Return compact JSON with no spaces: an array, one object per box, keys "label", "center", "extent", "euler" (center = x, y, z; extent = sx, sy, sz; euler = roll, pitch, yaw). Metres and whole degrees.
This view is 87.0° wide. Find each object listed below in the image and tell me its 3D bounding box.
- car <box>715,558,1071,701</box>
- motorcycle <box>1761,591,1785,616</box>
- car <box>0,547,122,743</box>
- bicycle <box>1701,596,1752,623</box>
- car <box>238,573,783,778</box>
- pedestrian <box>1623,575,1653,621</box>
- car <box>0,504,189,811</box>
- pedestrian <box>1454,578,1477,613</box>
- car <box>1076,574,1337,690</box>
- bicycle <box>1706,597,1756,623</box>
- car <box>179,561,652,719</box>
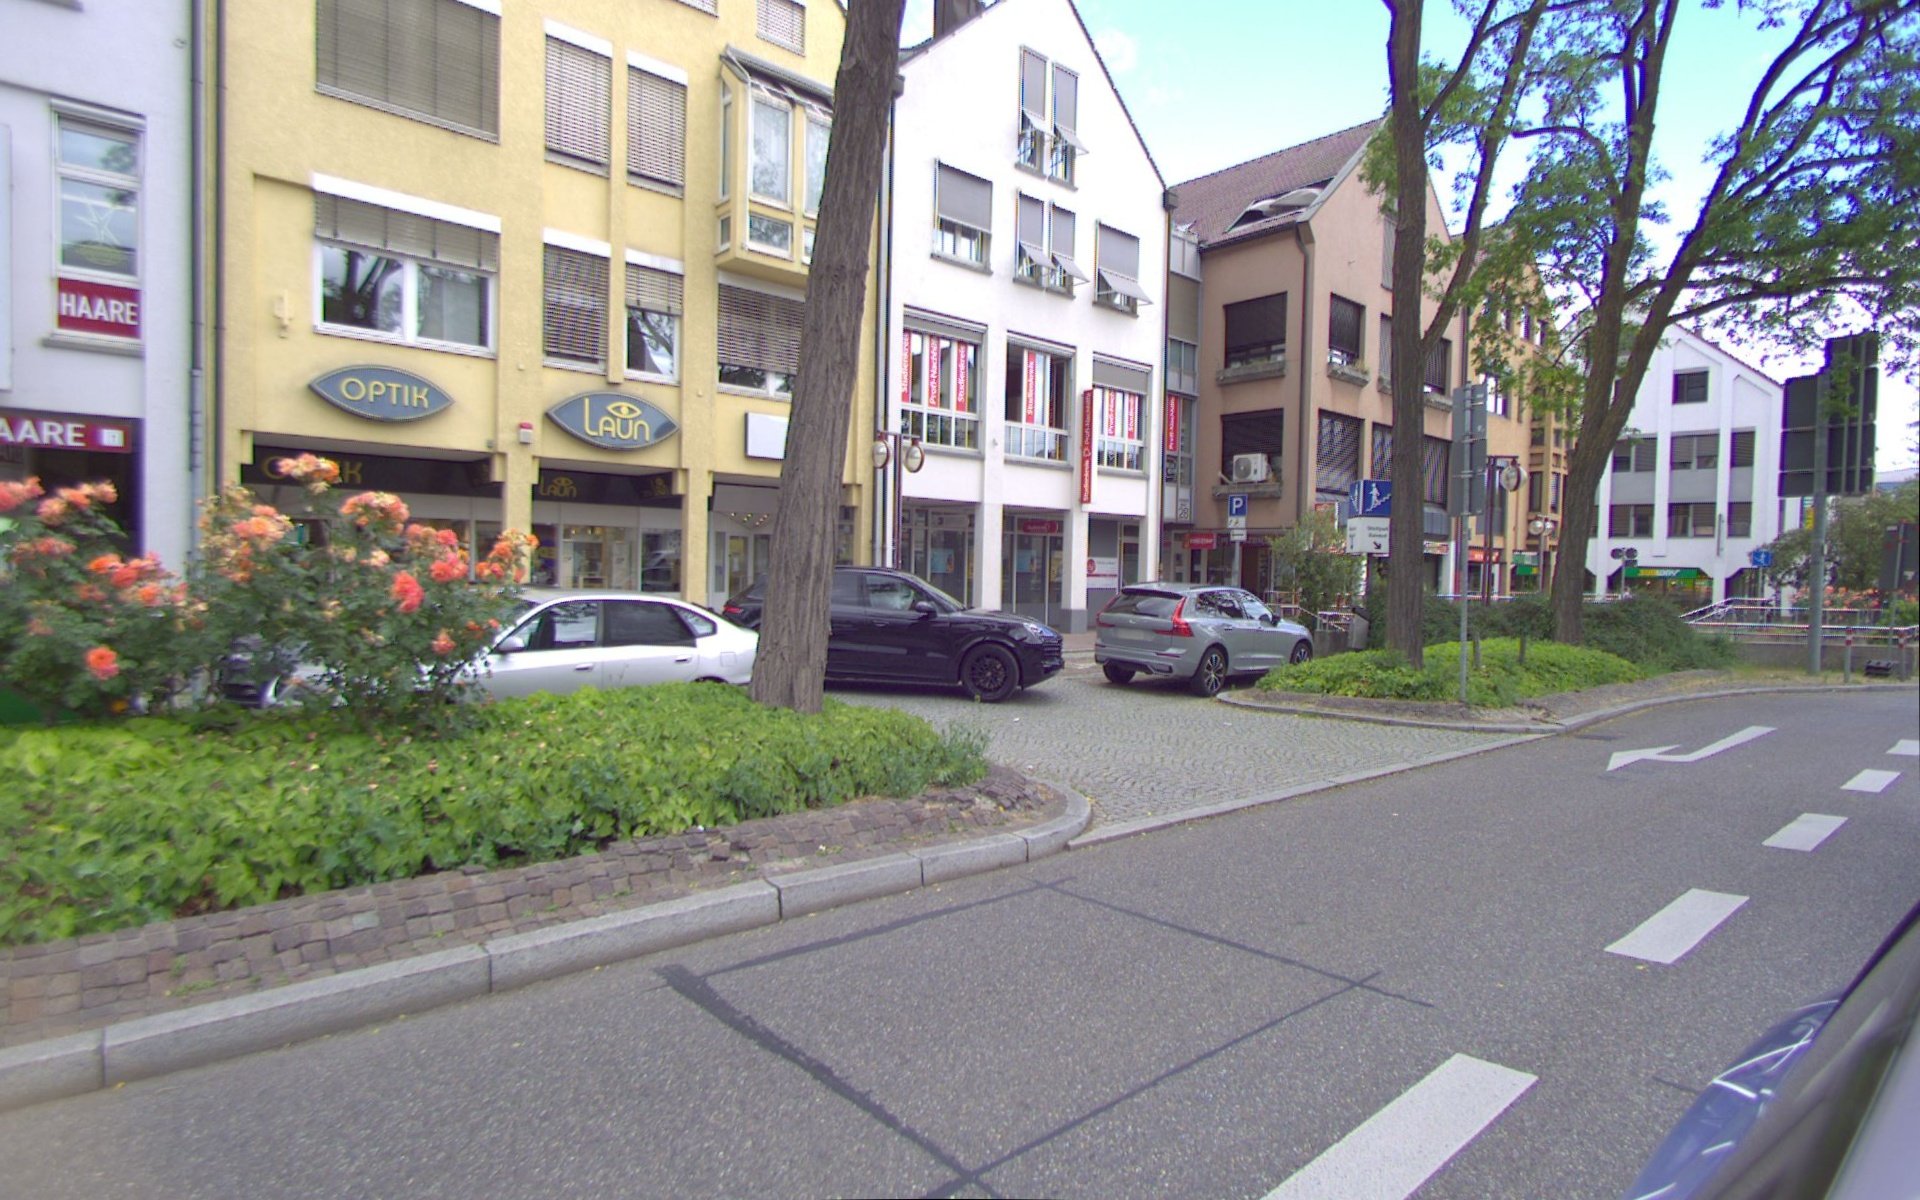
[{"label":"car","center":[-0.859,0.339,14.042],"extent":[4.578,1.690,1.858],"euler":[2,2,3]},{"label":"motorcycle","center":[35.115,0.144,43.698],"extent":[1.961,1.081,0.464],"euler":[0,1,-41]},{"label":"car","center":[-9.421,0.339,7.927],"extent":[4.320,1.561,1.799],"euler":[0,3,-43]},{"label":"bicycle","center":[30.818,0.391,40.706],"extent":[1.584,1.014,0.409],"euler":[2,1,37]},{"label":"car","center":[-4.001,0.527,9.496],"extent":[4.344,1.468,1.765],"euler":[0,2,-43]},{"label":"pedestrian","center":[27.926,-0.082,41.682],"extent":[0.772,1.846,0.869],"euler":[0,0,-45]},{"label":"car","center":[-7.539,0.308,6.035],"extent":[4.528,1.899,1.883],"euler":[0,3,-43]},{"label":"pedestrian","center":[26.268,-0.226,52.622],"extent":[0.882,1.779,0.931],"euler":[2,1,38]},{"label":"car","center":[4.186,0.434,16.706],"extent":[4.685,1.615,1.995],"euler":[0,2,-44]},{"label":"bicycle","center":[31.349,0.407,41.157],"extent":[1.583,0.981,0.455],"euler":[2,1,36]},{"label":"car","center":[-5.977,0.331,11.424],"extent":[4.344,1.393,2.000],"euler":[0,3,-43]}]
